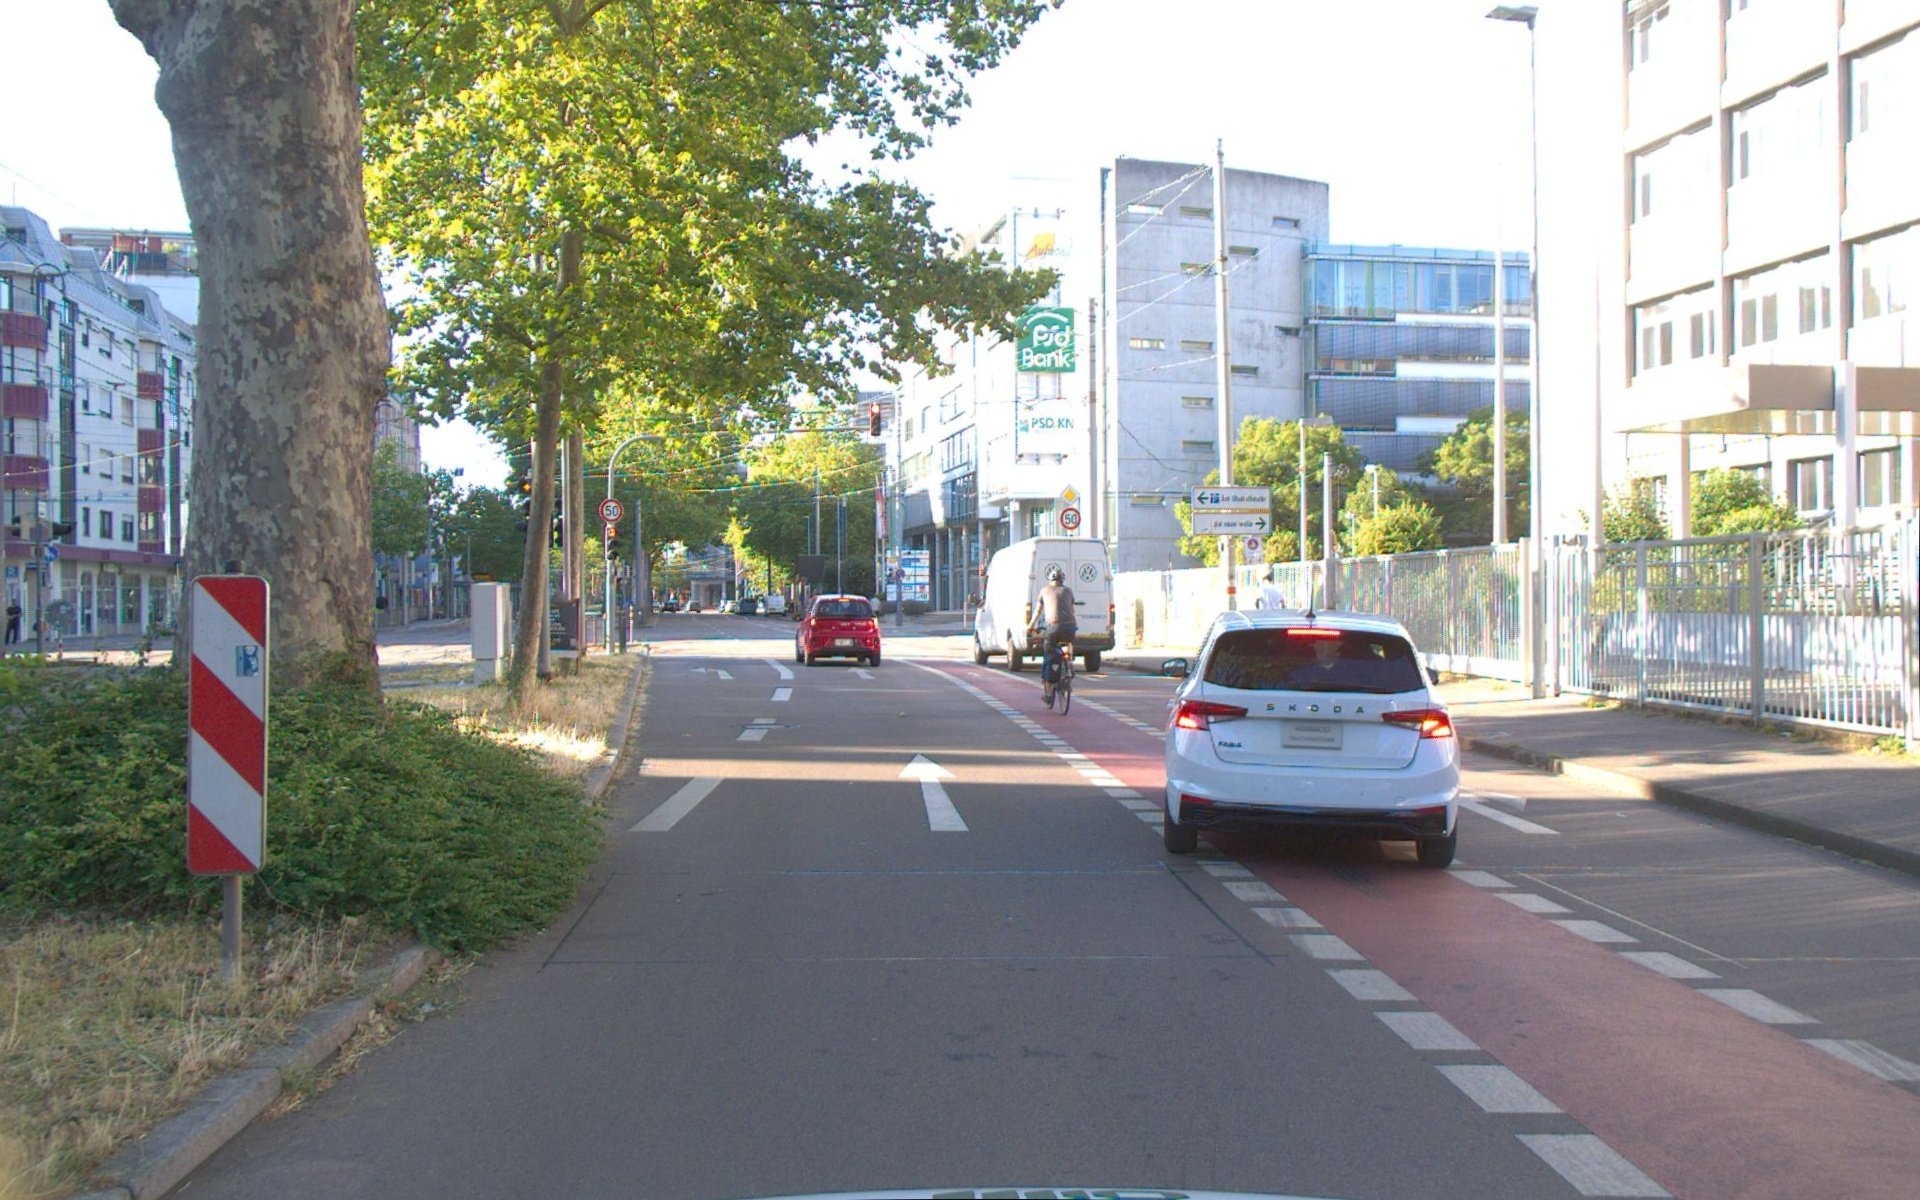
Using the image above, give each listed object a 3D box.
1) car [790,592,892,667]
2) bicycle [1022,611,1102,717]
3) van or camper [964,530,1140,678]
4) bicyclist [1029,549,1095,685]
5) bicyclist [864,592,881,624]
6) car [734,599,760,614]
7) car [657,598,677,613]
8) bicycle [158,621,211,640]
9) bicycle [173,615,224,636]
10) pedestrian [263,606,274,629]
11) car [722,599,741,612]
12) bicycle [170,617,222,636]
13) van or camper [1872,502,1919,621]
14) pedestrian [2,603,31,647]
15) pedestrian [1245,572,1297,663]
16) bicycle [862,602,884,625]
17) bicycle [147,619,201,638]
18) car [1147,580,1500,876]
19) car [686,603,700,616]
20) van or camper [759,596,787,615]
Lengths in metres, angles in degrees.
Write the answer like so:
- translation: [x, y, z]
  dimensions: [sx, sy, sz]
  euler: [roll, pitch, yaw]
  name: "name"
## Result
- translation: [-2.644, 0.593, 36.039]
  dimensions: [1.806, 1.515, 3.707]
  euler: [-1, 0, -11]
  name: "car"
- translation: [1.287, 0.787, 21.201]
  dimensions: [0.729, 1.245, 2.154]
  euler: [1, 0, -4]
  name: "bicycle"
- translation: [1.792, 0.070, 34.947]
  dimensions: [2.228, 2.781, 6.330]
  euler: [2, 0, -10]
  name: "van or camper"
- translation: [1.296, 0.215, 21.155]
  dimensions: [0.728, 1.698, 0.744]
  euler: [1, 0, -5]
  name: "bicyclist"
- translation: [-4.595, 0.427, 86.338]
  dimensions: [0.772, 1.663, 0.637]
  euler: [-1, 0, -13]
  name: "bicyclist"
- translation: [-23.096, 0.682, 179.473]
  dimensions: [2.435, 1.555, 4.418]
  euler: [-2, 0, -12]
  name: "car"
- translation: [-35.254, 0.626, 198.845]
  dimensions: [2.024, 1.682, 3.477]
  euler: [-1, 0, -16]
  name: "car"
- translation: [-35.884, 1.411, 76.579]
  dimensions: [2.133, 0.801, 0.490]
  euler: [-1, 0, -14]
  name: "bicycle"
- translation: [-36.164, 1.201, 78.559]
  dimensions: [2.133, 0.967, 0.490]
  euler: [-1, 0, -14]
  name: "bicycle"
- translation: [-44.130, 1.100, 105.546]
  dimensions: [0.501, 1.484, 0.527]
  euler: [-1, 0, -9]
  name: "pedestrian"
- translation: [-27.773, 0.652, 201.144]
  dimensions: [1.853, 1.555, 4.416]
  euler: [-2, 0, -13]
  name: "car"
- translation: [-36.002, 1.250, 77.937]
  dimensions: [2.133, 0.838, 0.526]
  euler: [-1, 0, -14]
  name: "bicycle"
- translation: [16.909, -0.641, 25.765]
  dimensions: [1.945, 1.942, 4.985]
  euler: [-1, 0, -12]
  name: "van or camper"
- translation: [-36.701, 0.958, 64.315]
  dimensions: [0.697, 1.691, 1.029]
  euler: [-1, 0, -15]
  name: "pedestrian"
- translation: [6.207, 0.348, 33.033]
  dimensions: [0.772, 1.779, 0.770]
  euler: [-1, 0, -10]
  name: "pedestrian"
- translation: [-4.535, 0.685, 86.037]
  dimensions: [0.779, 1.182, 2.492]
  euler: [-1, 0, -12]
  name: "bicycle"
- translation: [-35.992, 1.286, 75.784]
  dimensions: [2.133, 0.801, 0.638]
  euler: [-1, 0, -14]
  name: "bicycle"
- translation: [2.172, 0.679, 10.887]
  dimensions: [1.764, 1.527, 3.984]
  euler: [2, 0, 5]
  name: "car"
- translation: [-33.257, 1.168, 206.041]
  dimensions: [1.628, 1.635, 3.521]
  euler: [-2, 0, -11]
  name: "car"
- translation: [-18.117, 0.511, 160.295]
  dimensions: [2.109, 1.781, 4.416]
  euler: [-2, 0, -14]
  name: "van or camper"
